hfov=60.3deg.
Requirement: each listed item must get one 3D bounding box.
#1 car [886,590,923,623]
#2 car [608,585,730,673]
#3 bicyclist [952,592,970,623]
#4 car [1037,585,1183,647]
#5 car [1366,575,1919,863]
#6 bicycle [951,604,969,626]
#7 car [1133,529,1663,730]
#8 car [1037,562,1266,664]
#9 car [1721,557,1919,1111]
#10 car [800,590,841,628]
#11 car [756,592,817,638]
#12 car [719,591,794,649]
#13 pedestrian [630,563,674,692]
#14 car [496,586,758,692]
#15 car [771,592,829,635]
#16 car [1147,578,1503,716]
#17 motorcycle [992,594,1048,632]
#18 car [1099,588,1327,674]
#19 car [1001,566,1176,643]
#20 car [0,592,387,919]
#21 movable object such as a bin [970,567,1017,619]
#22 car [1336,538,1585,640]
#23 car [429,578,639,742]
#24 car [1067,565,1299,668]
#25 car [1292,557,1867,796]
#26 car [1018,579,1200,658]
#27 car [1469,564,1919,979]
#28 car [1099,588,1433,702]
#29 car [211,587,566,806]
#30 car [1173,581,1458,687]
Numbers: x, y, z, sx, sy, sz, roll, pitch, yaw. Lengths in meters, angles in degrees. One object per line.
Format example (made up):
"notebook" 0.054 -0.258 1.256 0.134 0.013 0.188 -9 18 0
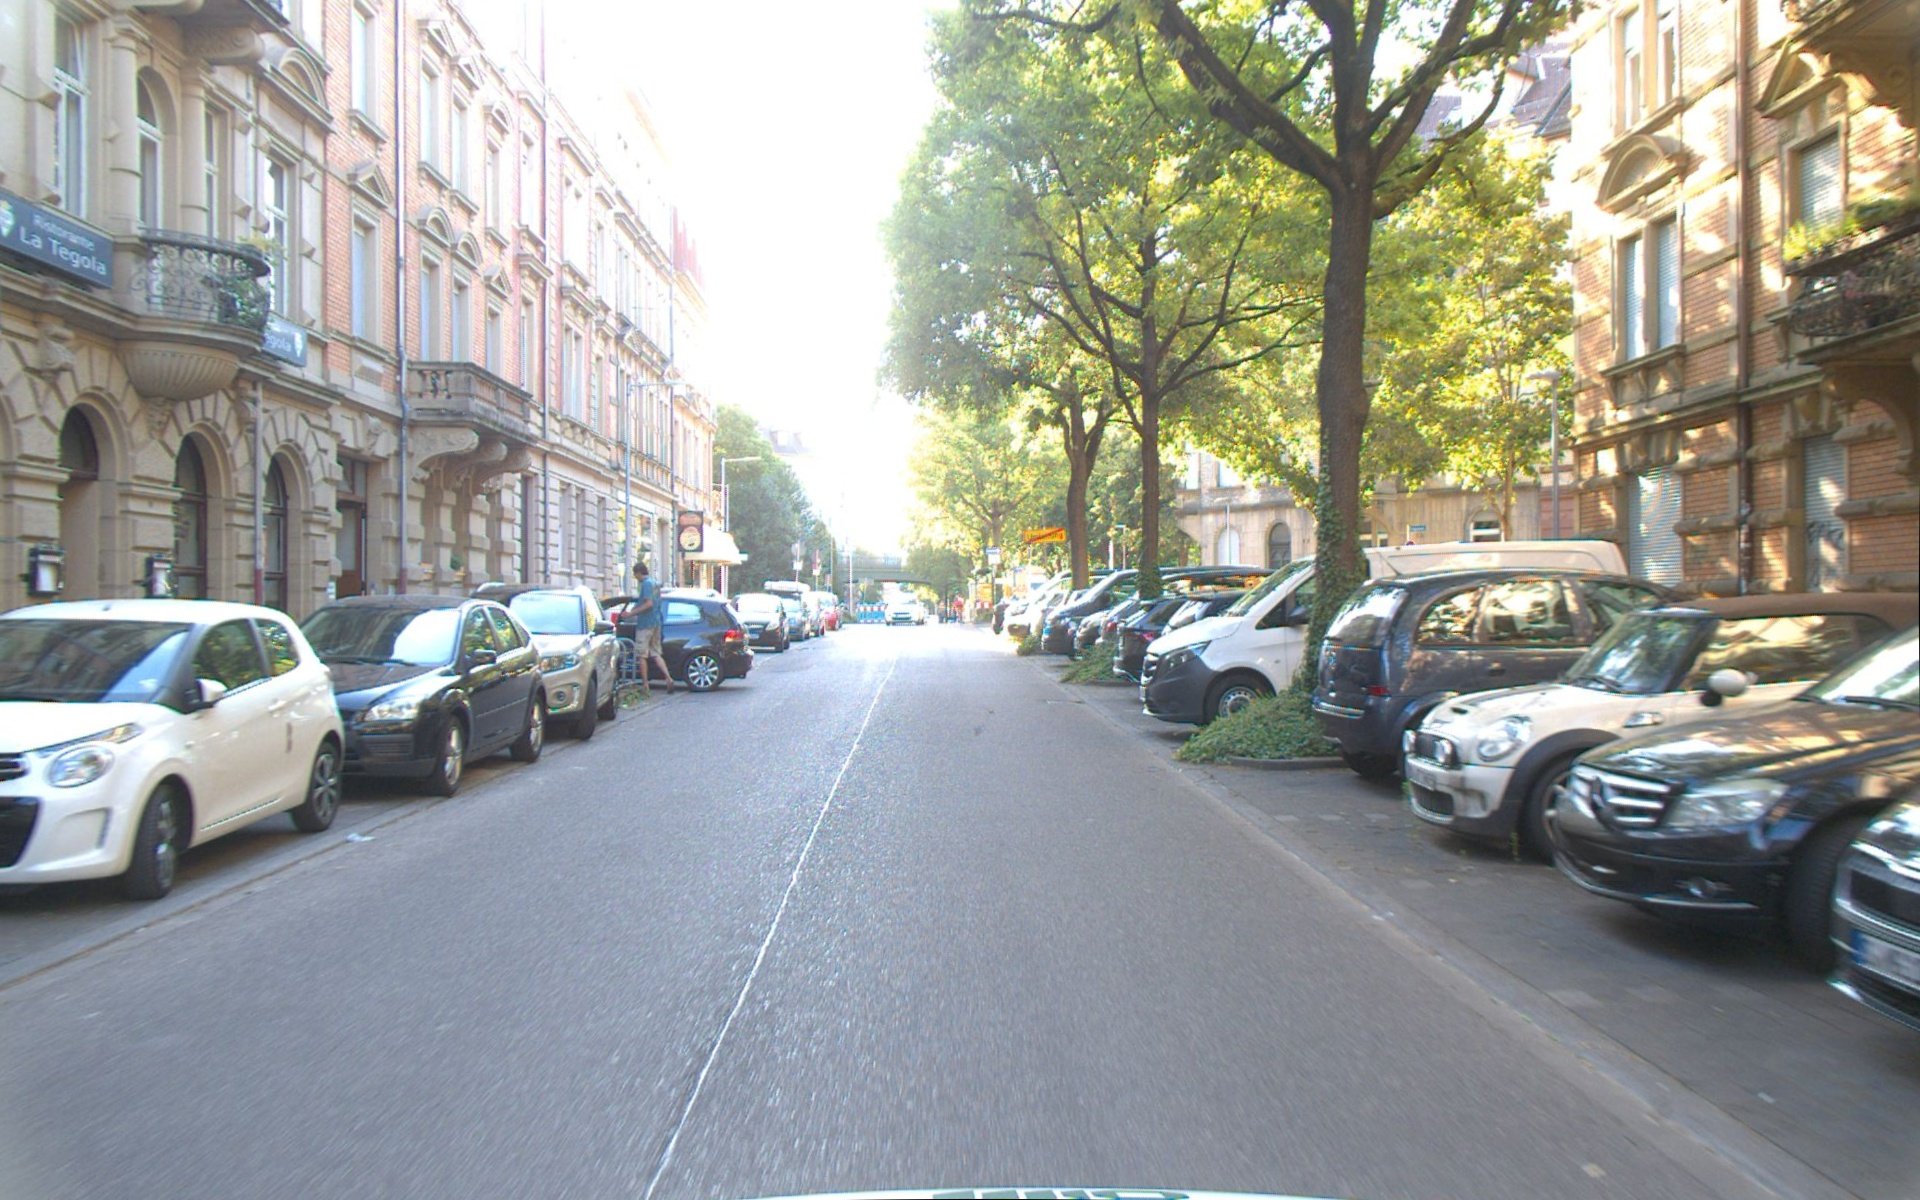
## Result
"car" -2.666 0.294 80.118 1.713 1.535 3.999 0 0 -1
"car" -5.545 0.513 31.937 1.706 1.594 3.894 0 0 -1
"bicyclist" 0.023 0.349 76.883 0.787 1.407 0.985 1 0 -2
"car" 4.027 0.426 44.723 3.763 1.623 1.740 0 0 -1
"car" 4.716 0.627 9.998 4.026 1.529 1.809 0 0 -6
"bicycle" 0.004 0.695 76.923 0.787 0.985 2.108 1 0 -2
"car" 4.447 0.346 17.456 4.988 1.974 2.157 0 -3 -1
"car" 3.970 0.248 34.805 4.524 2.049 1.999 0 0 -4
"car" 4.923 0.639 4.866 4.459 1.556 2.000 0 0 0
"car" -5.875 0.375 70.067 1.636 1.557 3.997 0 0 -4
"car" -5.686 0.459 54.520 1.729 1.462 4.298 0 0 -3
"car" -5.412 0.508 44.352 1.669 1.479 4.018 0 0 -2
"pedestrian" -4.671 0.410 25.065 0.627 1.920 0.590 0 0 -12
"car" -5.186 0.589 26.221 3.911 1.556 1.823 -1 0 -7
"car" -5.737 0.456 59.737 1.690 1.462 3.995 2 0 -1
"car" 4.455 0.543 20.470 3.913 1.500 1.778 -2 0 -9
"motorcycle" 2.206 0.474 61.000 1.983 1.307 0.903 -2 0 -3
"car" 4.504 0.542 29.914 3.903 1.473 1.891 0 0 3
"car" 3.654 0.125 47.734 4.872 2.132 2.105 0 0 -1
"car" -4.767 0.715 9.639 1.550 1.498 3.999 0 0 -2
"movable object such as a bin" 1.817 -0.353 87.890 1.951 2.747 3.113 0 -1 12
"car" 13.013 -0.283 43.216 5.782 2.582 2.376 0 0 -7
"car" -4.700 0.592 18.777 1.615 1.601 4.045 2 0 -5
"car" 4.309 0.299 32.393 4.185 1.918 1.937 0 0 -5
"car" 4.685 0.532 12.807 3.809 1.678 1.722 0 0 -6
"car" 3.330 0.394 37.534 3.907 1.722 1.799 0 0 -3
"car" 4.877 0.609 7.483 4.575 1.529 1.927 -1 0 -11
"car" 4.177 0.595 23.090 4.280 1.481 1.933 -1 0 -1
"car" -4.557 0.682 13.824 1.614 1.498 3.999 2 0 -2
"car" 5.419 0.504 25.588 3.998 1.524 1.843 -1 0 -1
